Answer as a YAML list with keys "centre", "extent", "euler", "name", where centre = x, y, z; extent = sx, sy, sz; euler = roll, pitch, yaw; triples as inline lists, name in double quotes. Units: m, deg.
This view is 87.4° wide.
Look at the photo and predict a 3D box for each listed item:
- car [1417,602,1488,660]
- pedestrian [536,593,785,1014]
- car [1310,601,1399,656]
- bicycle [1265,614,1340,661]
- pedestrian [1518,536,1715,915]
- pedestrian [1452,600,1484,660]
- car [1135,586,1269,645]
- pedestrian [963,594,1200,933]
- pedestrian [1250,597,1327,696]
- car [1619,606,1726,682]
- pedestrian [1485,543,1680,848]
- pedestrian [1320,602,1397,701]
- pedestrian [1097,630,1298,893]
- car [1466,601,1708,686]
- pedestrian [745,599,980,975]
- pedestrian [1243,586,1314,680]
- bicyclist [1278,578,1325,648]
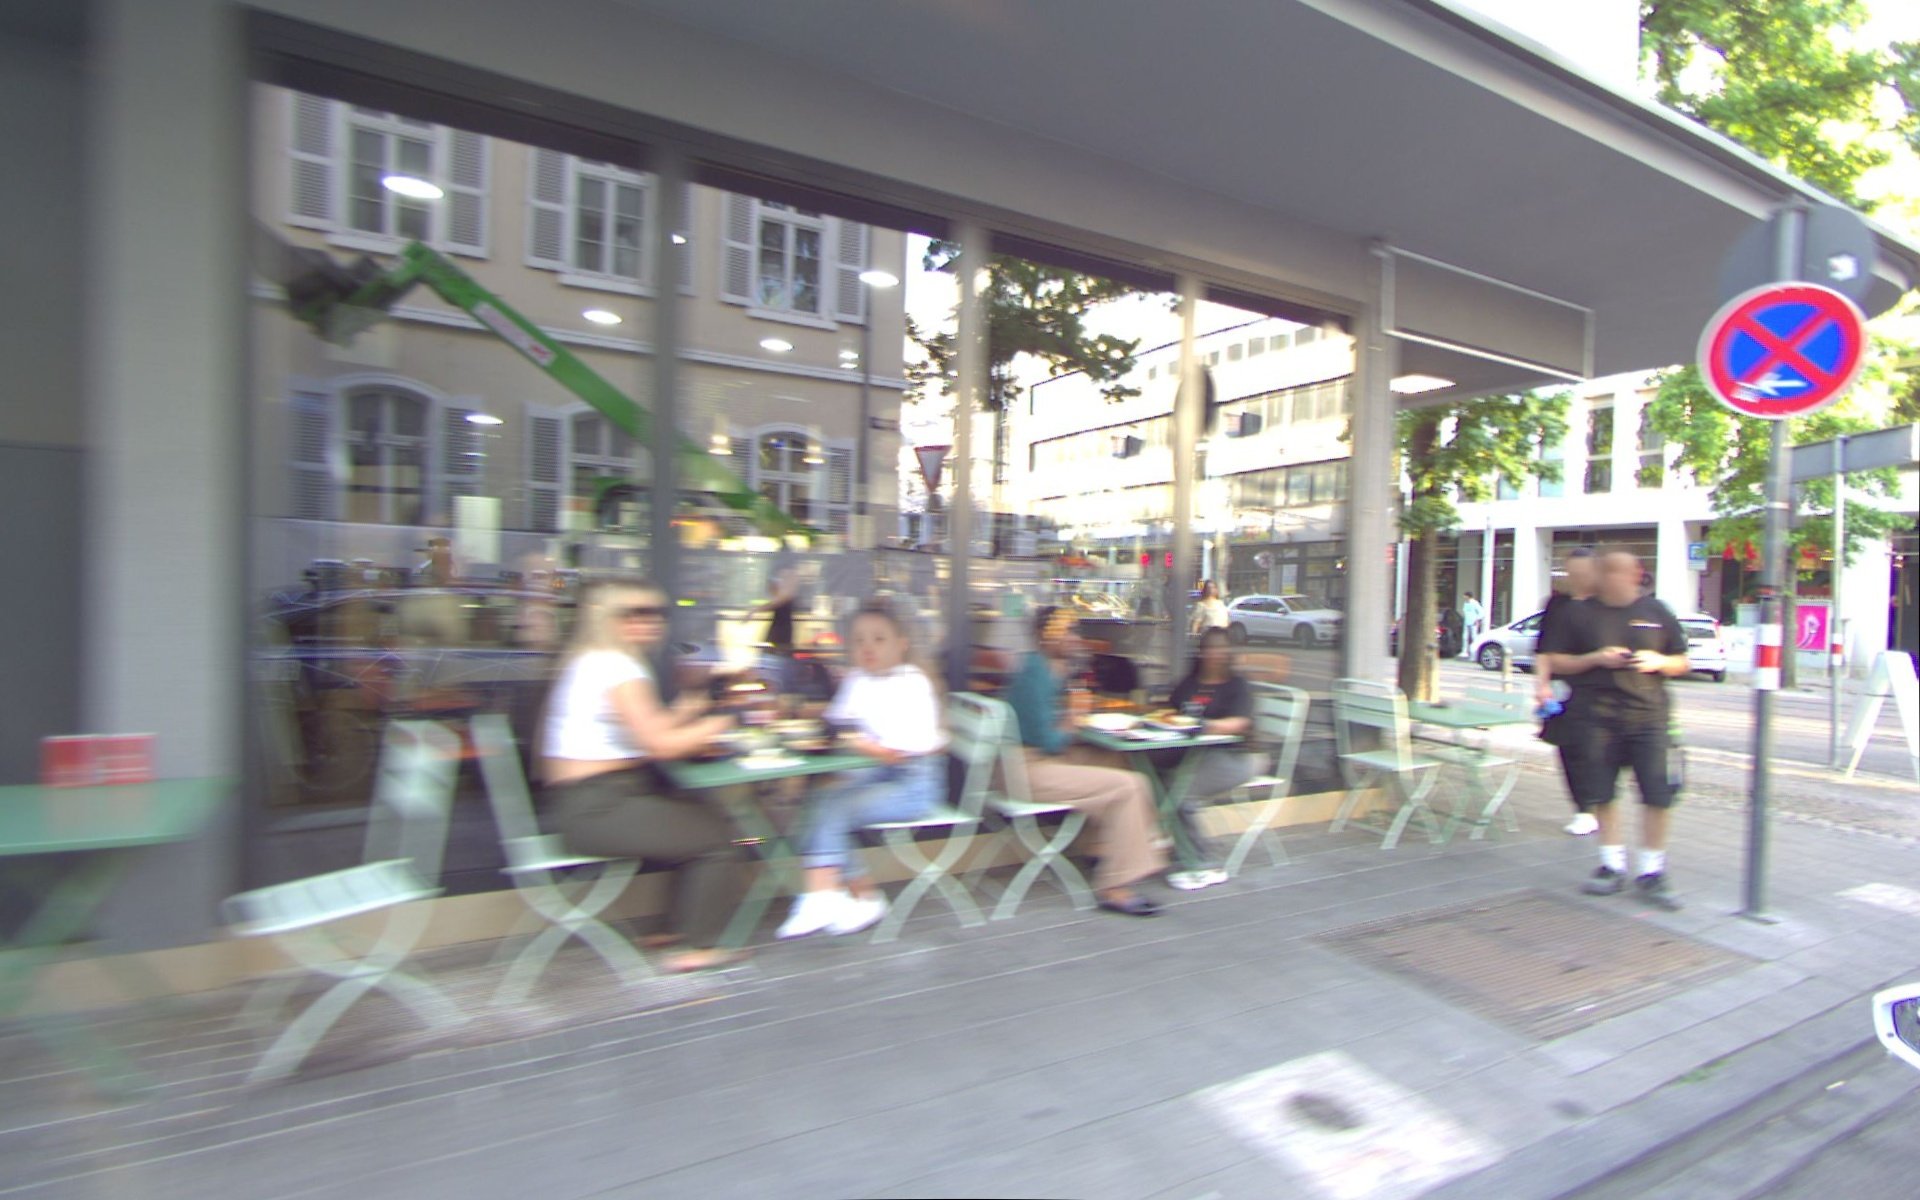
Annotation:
- centre: [15.047, 0.903, 30.615]
  extent: [1.563, 1.526, 3.582]
  euler: [1, 2, 33]
  name: "car"
- centre: [-1.070, 0.640, 3.544]
  extent: [0.705, 1.293, 0.570]
  euler: [1, 3, -30]
  name: "pedestrian"
- centre: [12.778, 0.855, 32.418]
  extent: [1.917, 1.526, 3.986]
  euler: [1, 2, 33]
  name: "car"
- centre: [9.424, 1.017, 27.723]
  extent: [0.507, 1.166, 2.037]
  euler: [1, 1, -33]
  name: "bicycle"
- centre: [3.192, 0.552, 4.886]
  extent: [0.677, 1.690, 0.504]
  euler: [4, 2, 38]
  name: "pedestrian"
- centre: [14.351, 0.838, 28.374]
  extent: [0.632, 1.649, 0.640]
  euler: [2, 1, 39]
  name: "pedestrian"
- centre: [8.028, 0.472, 33.678]
  extent: [1.849, 1.760, 4.245]
  euler: [3, -1, -33]
  name: "car"
- centre: [0.511, 0.643, 4.382]
  extent: [0.705, 1.293, 0.698]
  euler: [1, 3, -30]
  name: "pedestrian"
- centre: [4.736, 0.653, 14.507]
  extent: [0.706, 1.346, 0.724]
  euler: [1, 3, -34]
  name: "pedestrian"
- centre: [17.355, 0.989, 24.634]
  extent: [1.917, 1.526, 3.986]
  euler: [1, 2, 33]
  name: "car"
- centre: [3.825, 0.522, 6.163]
  extent: [0.787, 1.690, 0.897]
  euler: [4, 2, 42]
  name: "pedestrian"
- centre: [5.860, 0.745, 14.790]
  extent: [0.724, 1.377, 0.707]
  euler: [1, 3, -34]
  name: "pedestrian"
- centre: [1.140, 0.729, 4.860]
  extent: [0.705, 1.129, 0.570]
  euler: [1, 3, -30]
  name: "pedestrian"
- centre: [14.039, 0.934, 22.736]
  extent: [1.809, 1.613, 4.244]
  euler: [3, -1, -33]
  name: "car"
- centre: [-0.393, 0.662, 3.924]
  extent: [0.705, 1.293, 0.570]
  euler: [1, 3, -30]
  name: "pedestrian"
- centre: [4.938, 0.495, 15.575]
  extent: [0.724, 1.377, 0.707]
  euler: [1, 3, -34]
  name: "pedestrian"
- centre: [9.416, 0.344, 27.700]
  extent: [0.647, 1.880, 0.982]
  euler: [1, 1, -32]
  name: "bicyclist"
